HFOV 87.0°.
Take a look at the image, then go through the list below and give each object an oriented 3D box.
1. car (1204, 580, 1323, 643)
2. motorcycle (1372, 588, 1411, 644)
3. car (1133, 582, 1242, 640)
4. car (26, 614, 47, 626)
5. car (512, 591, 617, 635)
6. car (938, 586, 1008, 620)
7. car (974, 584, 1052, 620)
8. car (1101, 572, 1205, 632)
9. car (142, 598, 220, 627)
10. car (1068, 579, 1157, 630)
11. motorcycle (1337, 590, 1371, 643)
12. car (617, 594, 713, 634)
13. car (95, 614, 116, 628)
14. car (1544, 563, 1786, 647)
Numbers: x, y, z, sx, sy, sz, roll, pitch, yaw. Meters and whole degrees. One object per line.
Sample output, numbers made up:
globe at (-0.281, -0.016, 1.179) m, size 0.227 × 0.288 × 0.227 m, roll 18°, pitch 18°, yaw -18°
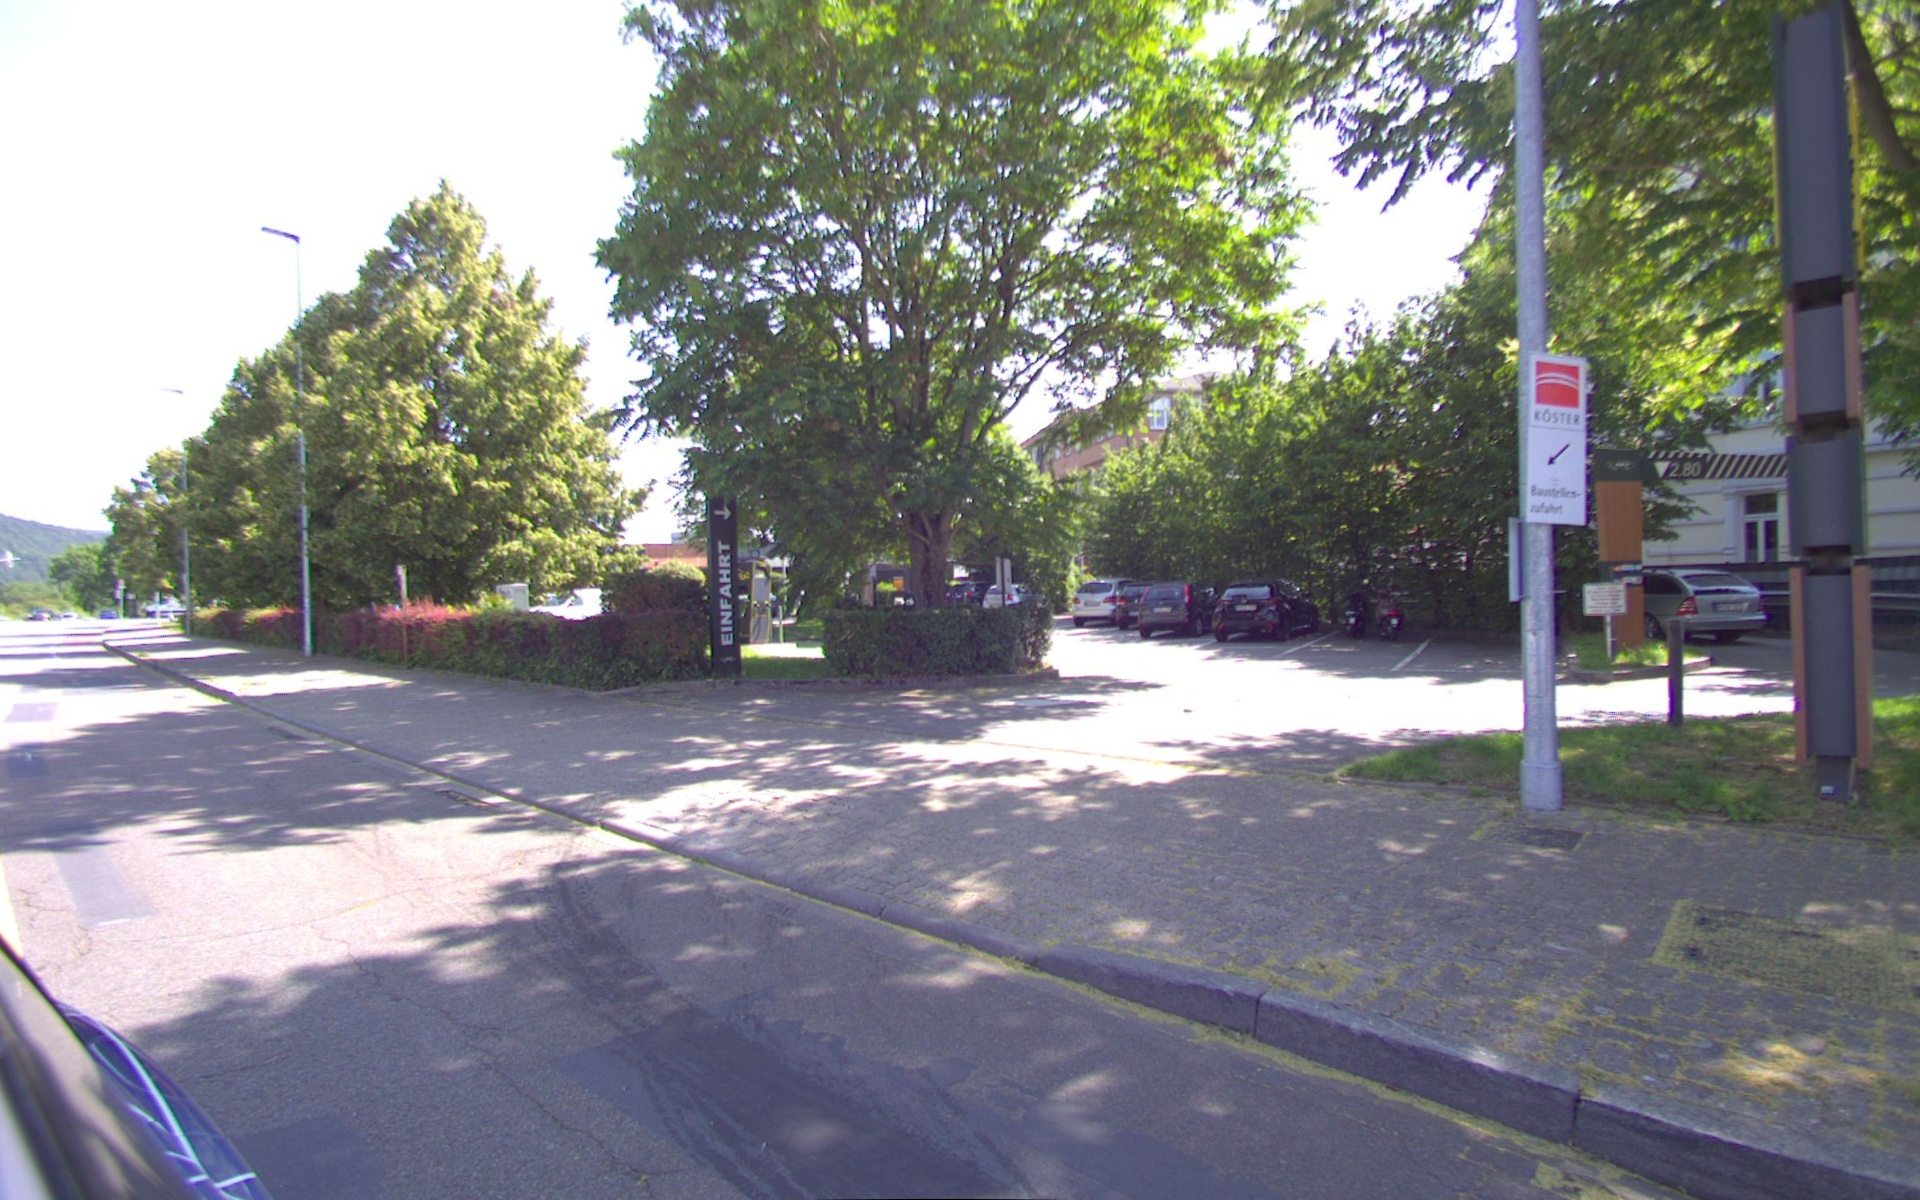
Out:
car at (7.696, 0.247, 25.452) m, size 1.765 × 1.398 × 4.049 m, roll -1°, pitch 1°, yaw 33°
motorcycle at (9.596, 0.325, 22.566) m, size 0.565 × 1.140 × 2.171 m, roll -1°, pitch 1°, yaw 18°
car at (6.361, 0.265, 27.994) m, size 1.623 × 1.405 × 4.026 m, roll -1°, pitch 1°, yaw 33°
car at (-98.062, 2.115, 107.421) m, size 1.586 × 1.264 × 3.687 m, roll -2°, pitch 1°, yaw -43°
car at (-17.803, 0.555, 45.777) m, size 1.741 × 1.841 × 4.312 m, roll -2°, pitch 0°, yaw 28°
car at (0.719, 0.124, 52.517) m, size 1.815 × 1.588 × 3.825 m, roll -1°, pitch 1°, yaw 34°
car at (2.419, 0.057, 45.400) m, size 1.789 × 1.461 × 4.004 m, roll -1°, pitch 1°, yaw 32°
car at (6.176, 0.032, 32.079) m, size 1.797 × 1.745 × 3.978 m, roll -1°, pitch 1°, yaw 33°
car at (-76.800, 1.211, 99.821) m, size 5.532 × 2.362 × 2.320 m, roll -3°, pitch 3°, yaw -14°
car at (5.334, 0.120, 34.983) m, size 1.638 × 1.599 × 3.808 m, roll -1°, pitch 1°, yaw 32°
motorcycle at (9.076, 0.355, 23.350) m, size 0.565 × 1.124 × 2.171 m, roll -1°, pitch 1°, yaw 18°
car at (-12.909, 0.590, 44.474) m, size 1.898 × 1.595 × 3.772 m, roll -1°, pitch 1°, yaw 30°
car at (-98.472, 2.389, 116.612) m, size 1.586 × 1.547 × 3.687 m, roll -1°, pitch 1°, yaw -43°
car at (13.852, 0.080, 20.268) m, size 1.690 × 1.414 × 4.386 m, roll -3°, pitch 0°, yaw 0°
